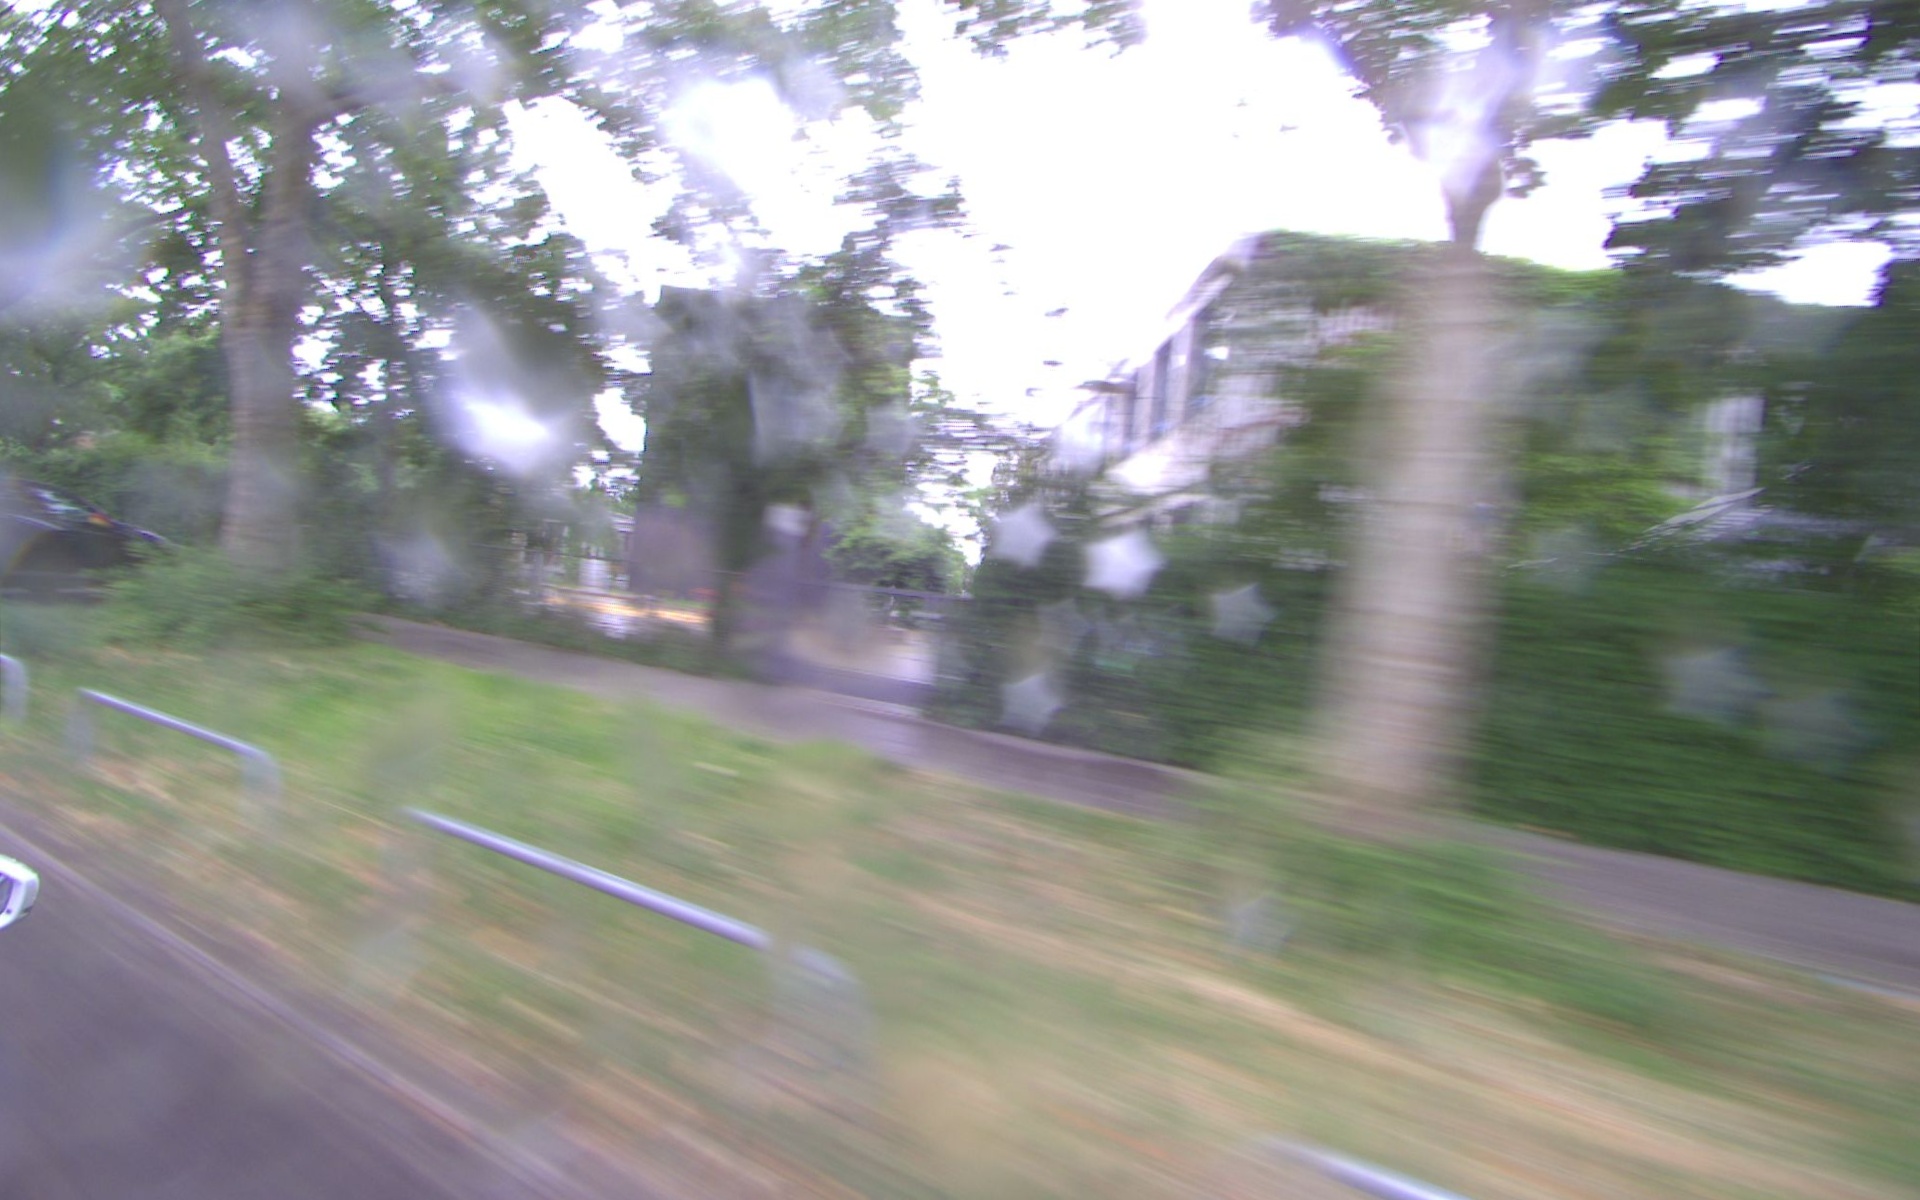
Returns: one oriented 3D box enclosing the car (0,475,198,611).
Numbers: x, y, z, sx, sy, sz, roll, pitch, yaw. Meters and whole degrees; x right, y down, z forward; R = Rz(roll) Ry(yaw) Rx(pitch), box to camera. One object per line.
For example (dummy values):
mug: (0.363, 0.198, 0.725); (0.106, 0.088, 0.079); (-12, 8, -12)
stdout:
car: (-11.865, -0.760, 12.350); (1.847, 1.553, 3.803); (6, 1, 5)

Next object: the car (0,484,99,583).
car: (-14.782, -1.033, 14.302); (1.710, 1.437, 4.057); (5, 1, -4)
